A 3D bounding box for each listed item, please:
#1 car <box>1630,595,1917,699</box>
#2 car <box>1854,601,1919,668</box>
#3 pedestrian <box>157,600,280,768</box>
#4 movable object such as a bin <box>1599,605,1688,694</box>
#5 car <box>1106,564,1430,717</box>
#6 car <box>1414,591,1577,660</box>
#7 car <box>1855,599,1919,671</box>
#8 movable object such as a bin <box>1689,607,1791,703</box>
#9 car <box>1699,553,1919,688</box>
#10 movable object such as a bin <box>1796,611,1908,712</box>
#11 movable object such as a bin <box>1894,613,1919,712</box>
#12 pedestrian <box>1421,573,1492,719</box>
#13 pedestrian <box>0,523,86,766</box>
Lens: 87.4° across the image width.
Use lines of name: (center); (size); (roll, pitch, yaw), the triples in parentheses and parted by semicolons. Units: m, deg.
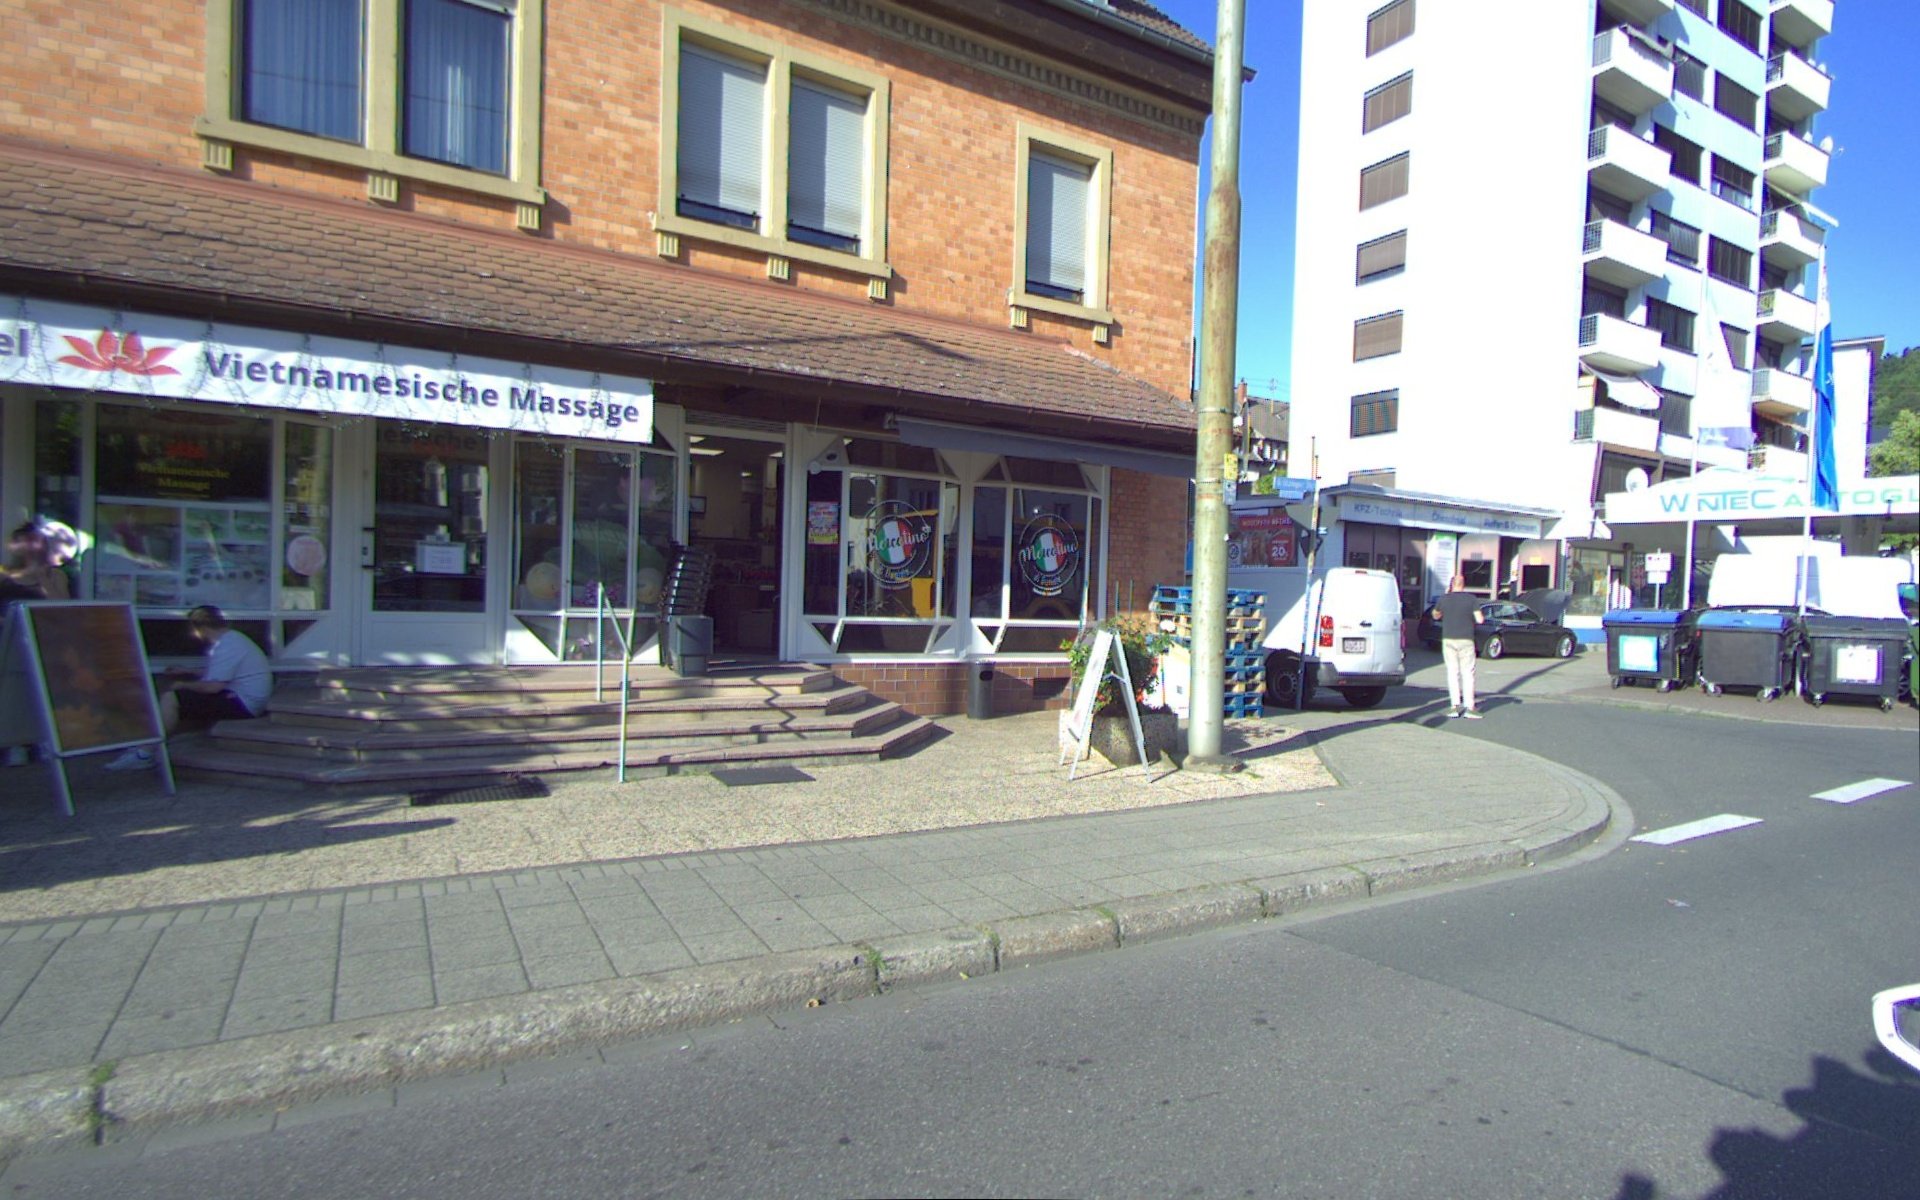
car: (15.149, 0.779, 18.863); (1.760, 1.589, 3.948); (0, 3, -43)
car: (24.636, 0.888, 24.871); (3.324, 1.589, 1.623); (2, 1, 9)
pedestrian: (-5.278, 0.575, 7.183); (0.624, 1.124, 0.560); (1, 1, -29)
movable object such as a bin: (12.403, 0.863, 18.248); (0.696, 1.503, 1.170); (-3, 3, -33)
car: (4.477, 0.497, 15.363); (1.977, 1.959, 4.590); (1, 0, -31)
car: (13.877, 0.624, 25.996); (4.266, 1.589, 1.758); (0, 2, -31)
car: (22.907, 0.835, 22.897); (3.325, 1.589, 1.623); (2, 1, 14)
movable object such as a bin: (13.303, 0.908, 17.152); (0.696, 1.503, 1.210); (-3, 3, -33)
car: (18.004, 0.364, 20.120); (4.994, 2.503, 2.099); (3, 2, 39)
movable object such as a bin: (14.117, 0.945, 15.940); (1.201, 1.503, 0.702); (0, 3, 32)
movable object such as a bin: (15.537, 0.977, 15.480); (1.286, 1.503, 1.058); (-1, 2, -1)
pedestrian: (6.716, 0.590, 13.588); (0.805, 1.893, 0.794); (2, 1, 27)
pedestrian: (-6.322, 0.293, 6.780); (0.496, 1.581, 0.462); (2, 0, -28)
